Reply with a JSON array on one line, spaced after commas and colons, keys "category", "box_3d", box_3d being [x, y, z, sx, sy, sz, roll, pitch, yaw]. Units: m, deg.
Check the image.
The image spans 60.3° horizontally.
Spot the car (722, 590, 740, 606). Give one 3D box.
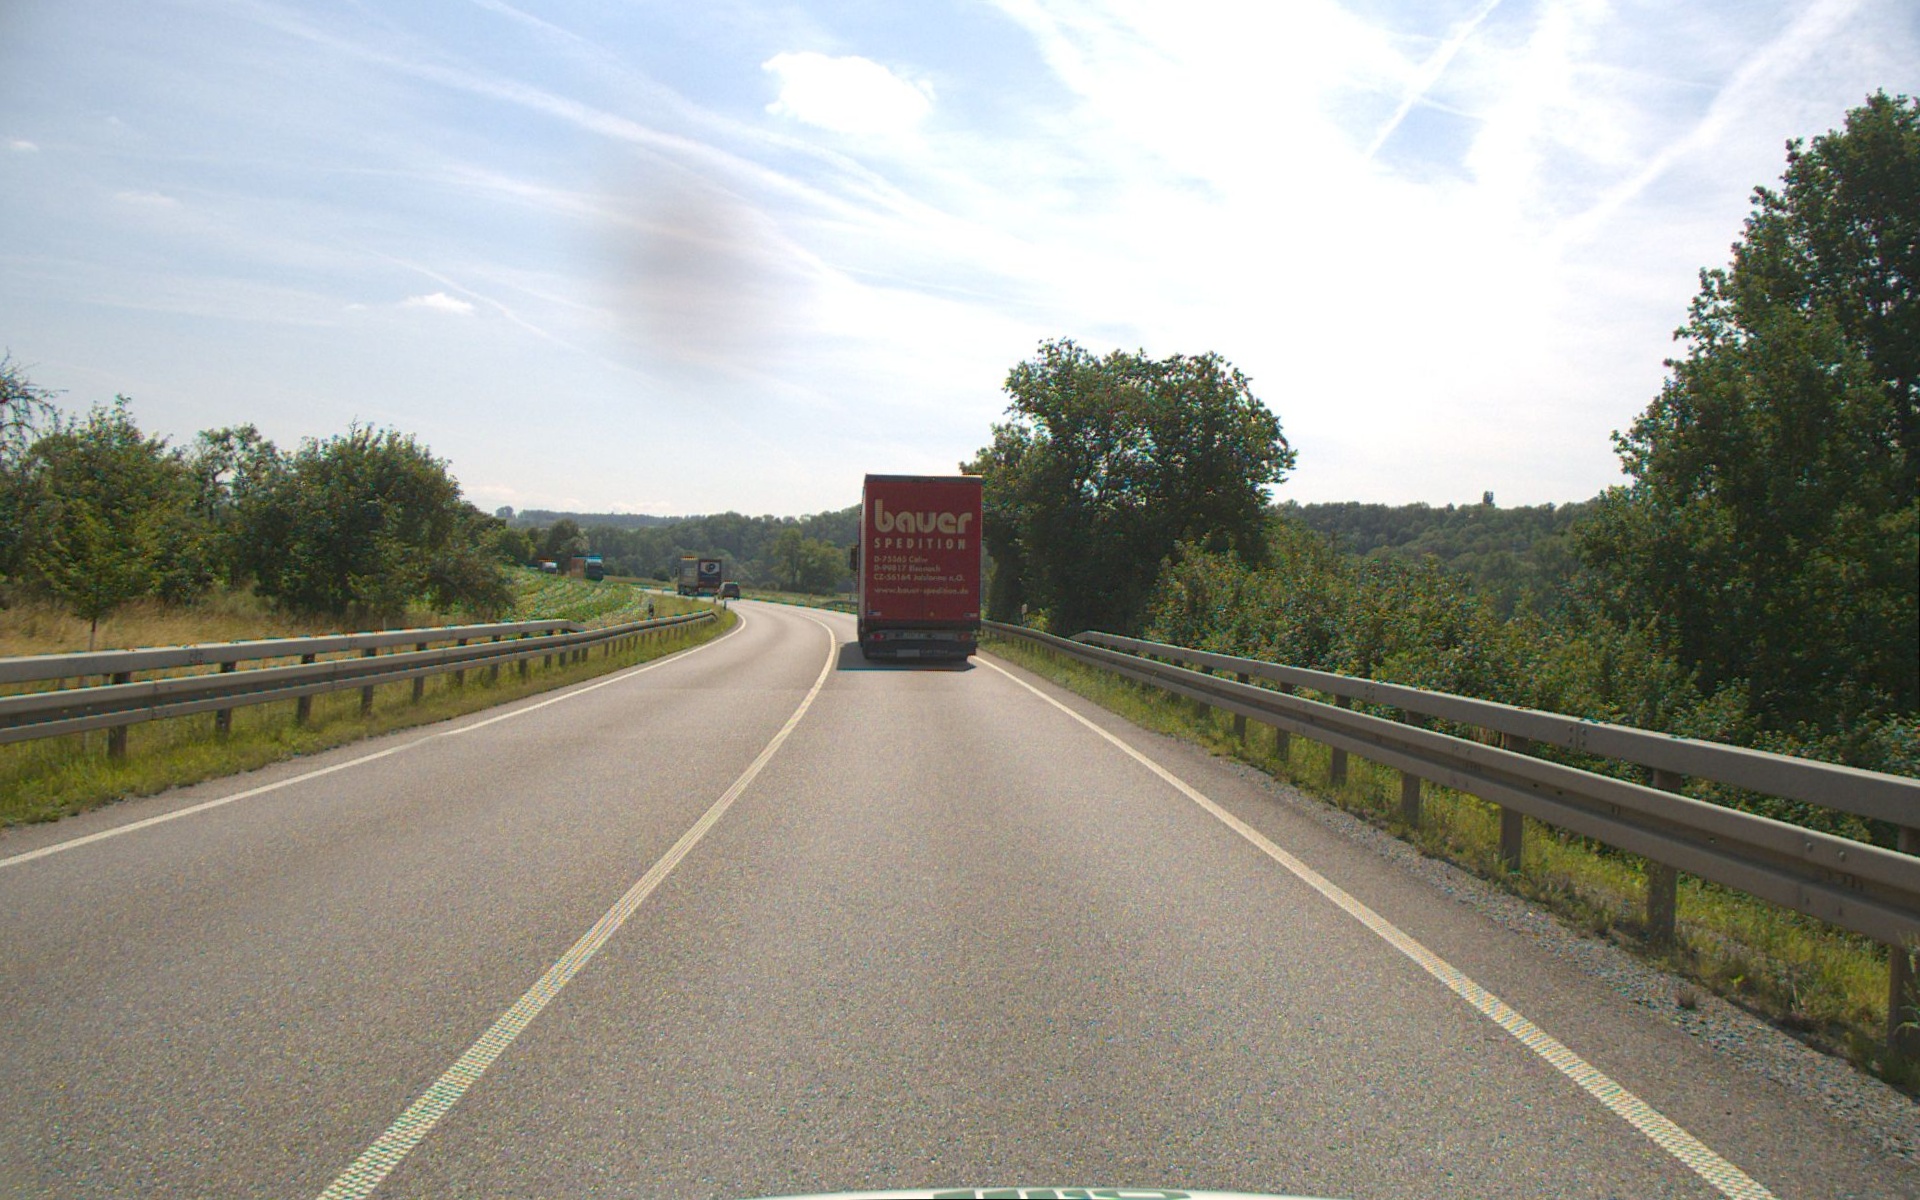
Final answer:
[{"category": "car", "box_3d": [-22.340, -0.203, 161.501, 1.551, 1.527, 3.872, 1, 1, -6]}]

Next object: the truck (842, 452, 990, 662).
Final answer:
[{"category": "truck", "box_3d": [-1.005, -0.914, 38.639, 3.031, 4.337, 8.312, 1, 0, -1]}]

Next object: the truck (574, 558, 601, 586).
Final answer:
[{"category": "truck", "box_3d": [-55.505, -4.168, 246.279, 2.726, 4.068, 16.950, 1, 1, -16]}]

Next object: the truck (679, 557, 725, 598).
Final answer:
[{"category": "truck", "box_3d": [-28.857, -2.426, 184.372, 3.581, 4.367, 11.932, 1, 0, -16]}]
